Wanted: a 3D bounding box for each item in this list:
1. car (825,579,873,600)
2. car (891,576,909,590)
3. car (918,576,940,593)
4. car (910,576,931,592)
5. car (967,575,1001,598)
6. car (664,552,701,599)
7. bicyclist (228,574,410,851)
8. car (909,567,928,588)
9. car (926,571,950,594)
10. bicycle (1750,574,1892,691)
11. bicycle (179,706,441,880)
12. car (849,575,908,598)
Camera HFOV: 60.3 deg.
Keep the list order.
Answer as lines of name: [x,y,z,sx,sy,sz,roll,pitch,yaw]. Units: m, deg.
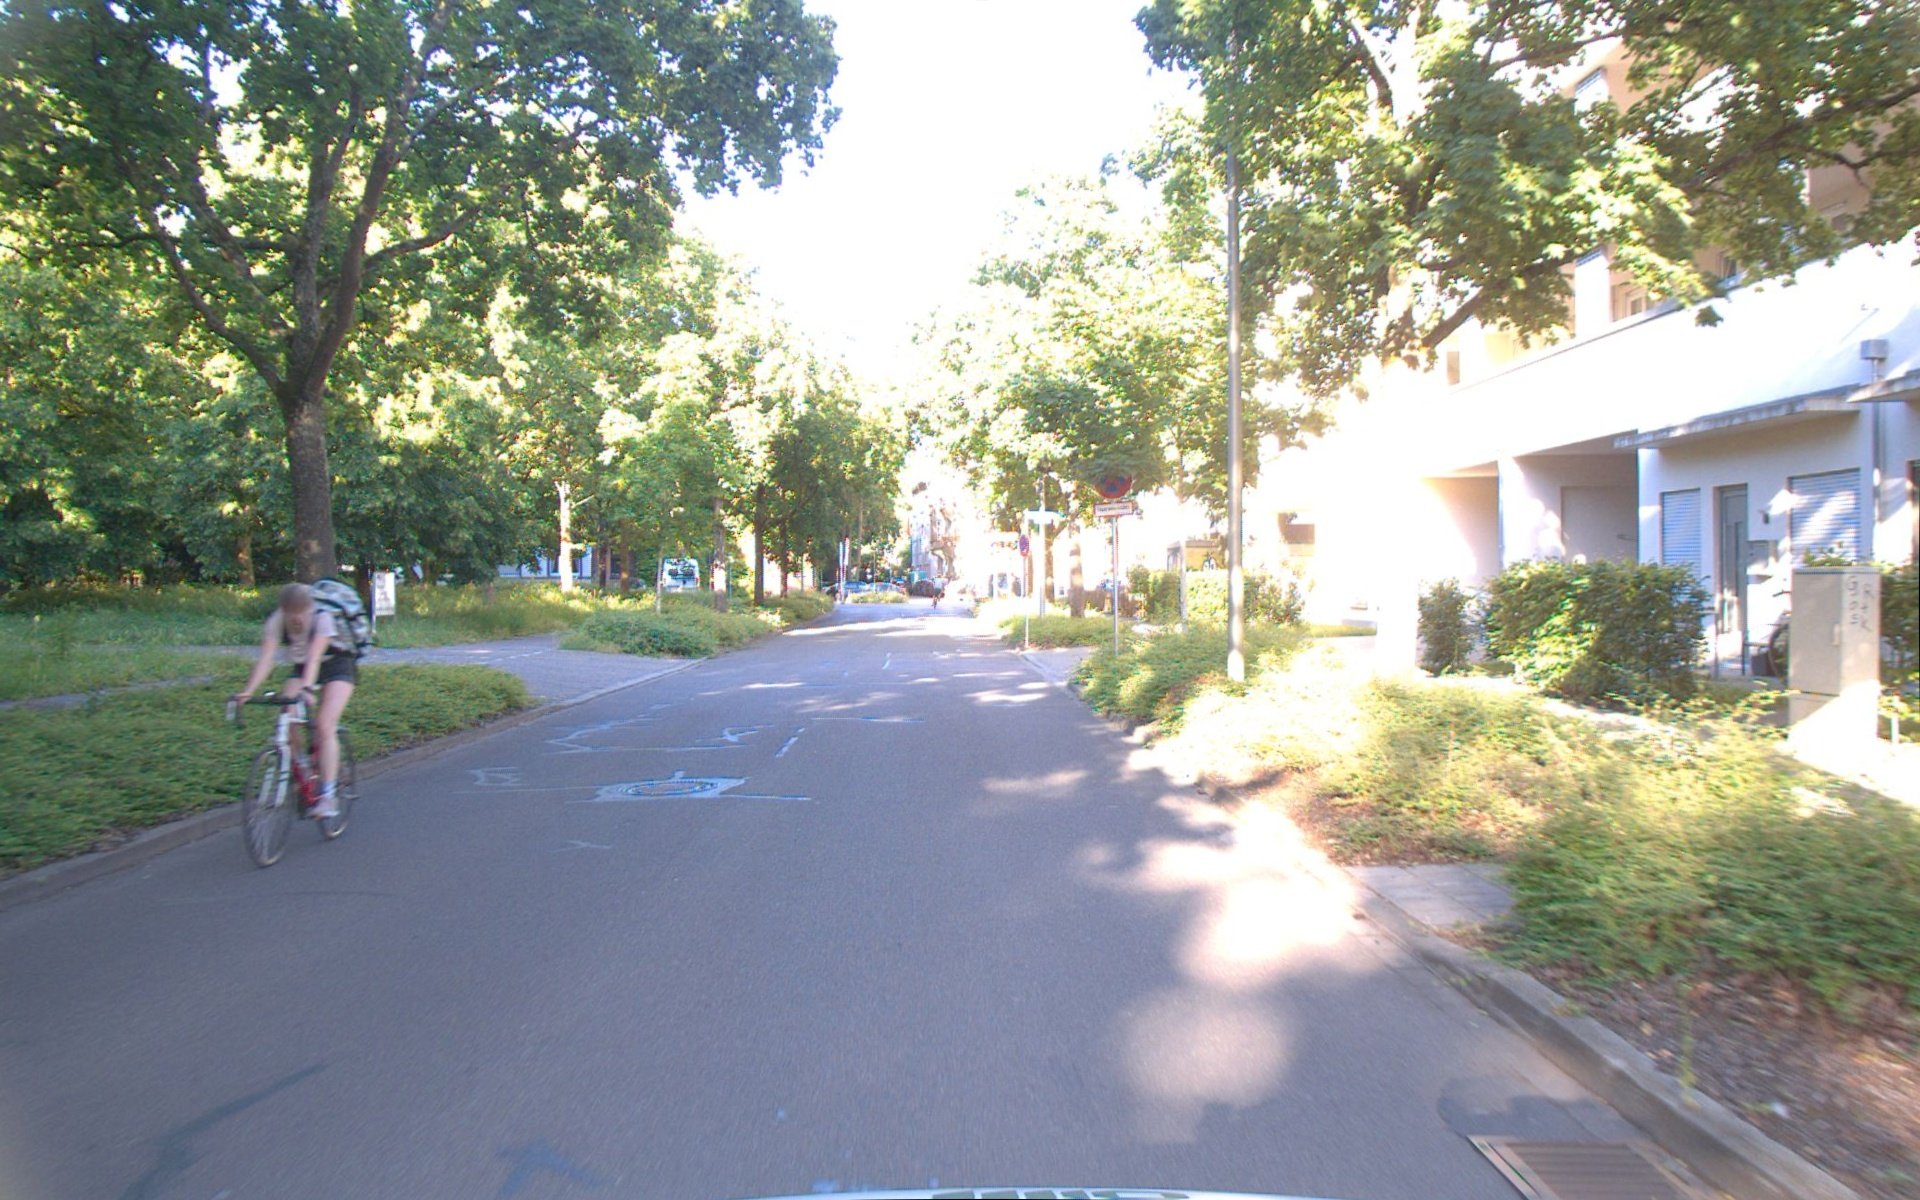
car: [-8.505,-0.842,126.357,3.521,1.536,1.497,1,1,-9]
car: [-6.805,-1.874,186.807,1.776,1.527,3.997,1,1,-5]
car: [-2.897,-1.475,153.181,1.776,1.527,3.997,1,1,-5]
car: [-3.849,-1.549,159.697,1.776,1.527,3.997,1,1,-5]
car: [1.654,-0.961,116.488,1.777,1.527,3.993,-1,1,-8]
car: [-15.534,-1.380,92.616,1.957,2.552,3.991,0,1,-10]
bicyclist: [-3.864,0.642,10.035,0.620,1.582,1.003,-2,1,3]
car: [-4.264,-2.326,169.885,1.776,2.086,3.997,1,1,-5]
car: [-1.936,-1.584,145.062,1.776,1.959,3.997,1,1,-5]
bicycle: [9.381,0.329,18.096,0.605,1.212,1.753,1,1,-1]
bicycle: [-3.852,1.112,10.015,0.625,0.754,2.127,-2,1,3]
car: [-5.630,-0.960,114.022,3.913,1.527,1.813,1,1,-9]
